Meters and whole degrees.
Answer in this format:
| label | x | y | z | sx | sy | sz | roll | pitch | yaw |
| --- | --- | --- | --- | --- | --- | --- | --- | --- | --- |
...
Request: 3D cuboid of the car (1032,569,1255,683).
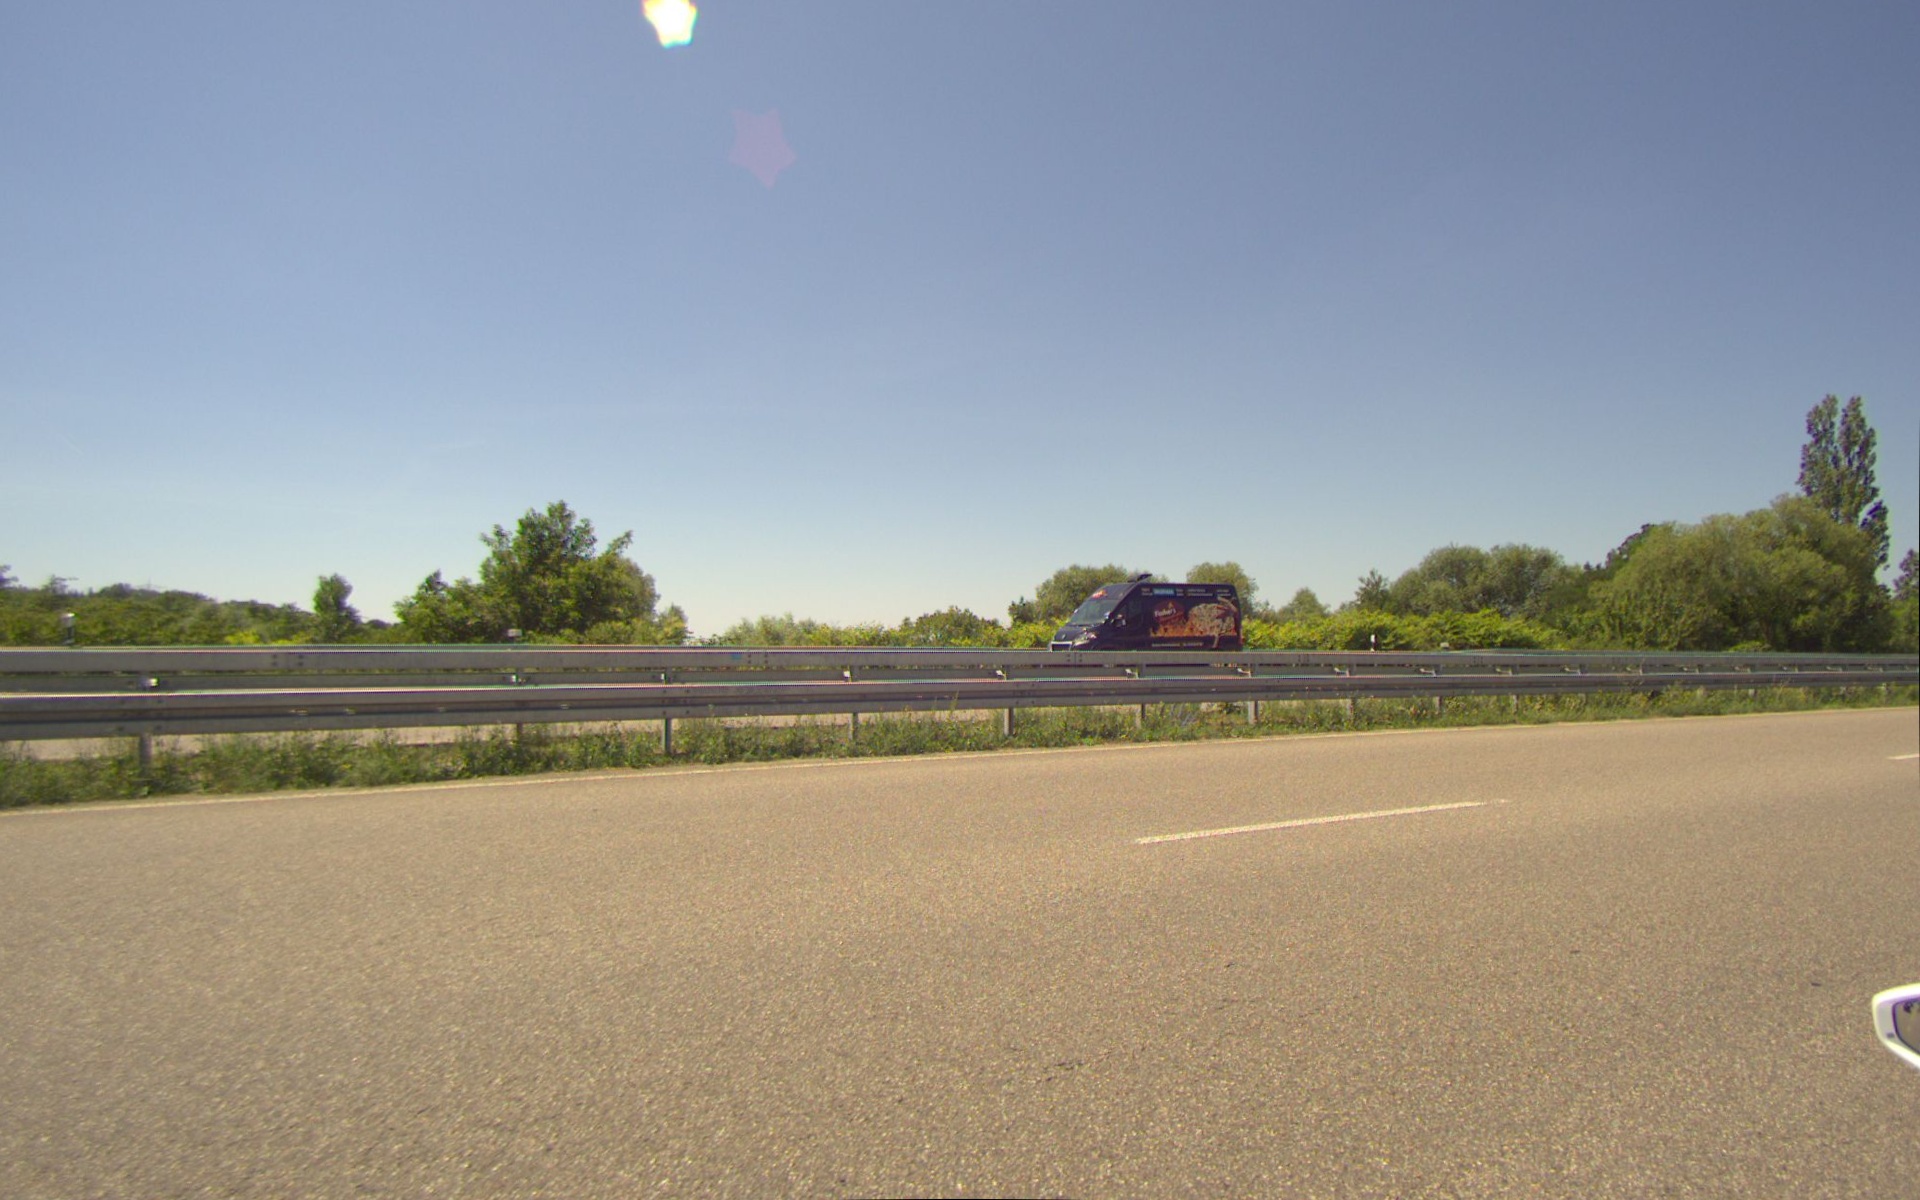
| label | x | y | z | sx | sy | sz | roll | pitch | yaw |
| --- | --- | --- | --- | --- | --- | --- | --- | --- | --- |
| car | 4.898 | 0.759 | 26.652 | 5.552 | 2.672 | 2.197 | 3 | -2 | -26 |
